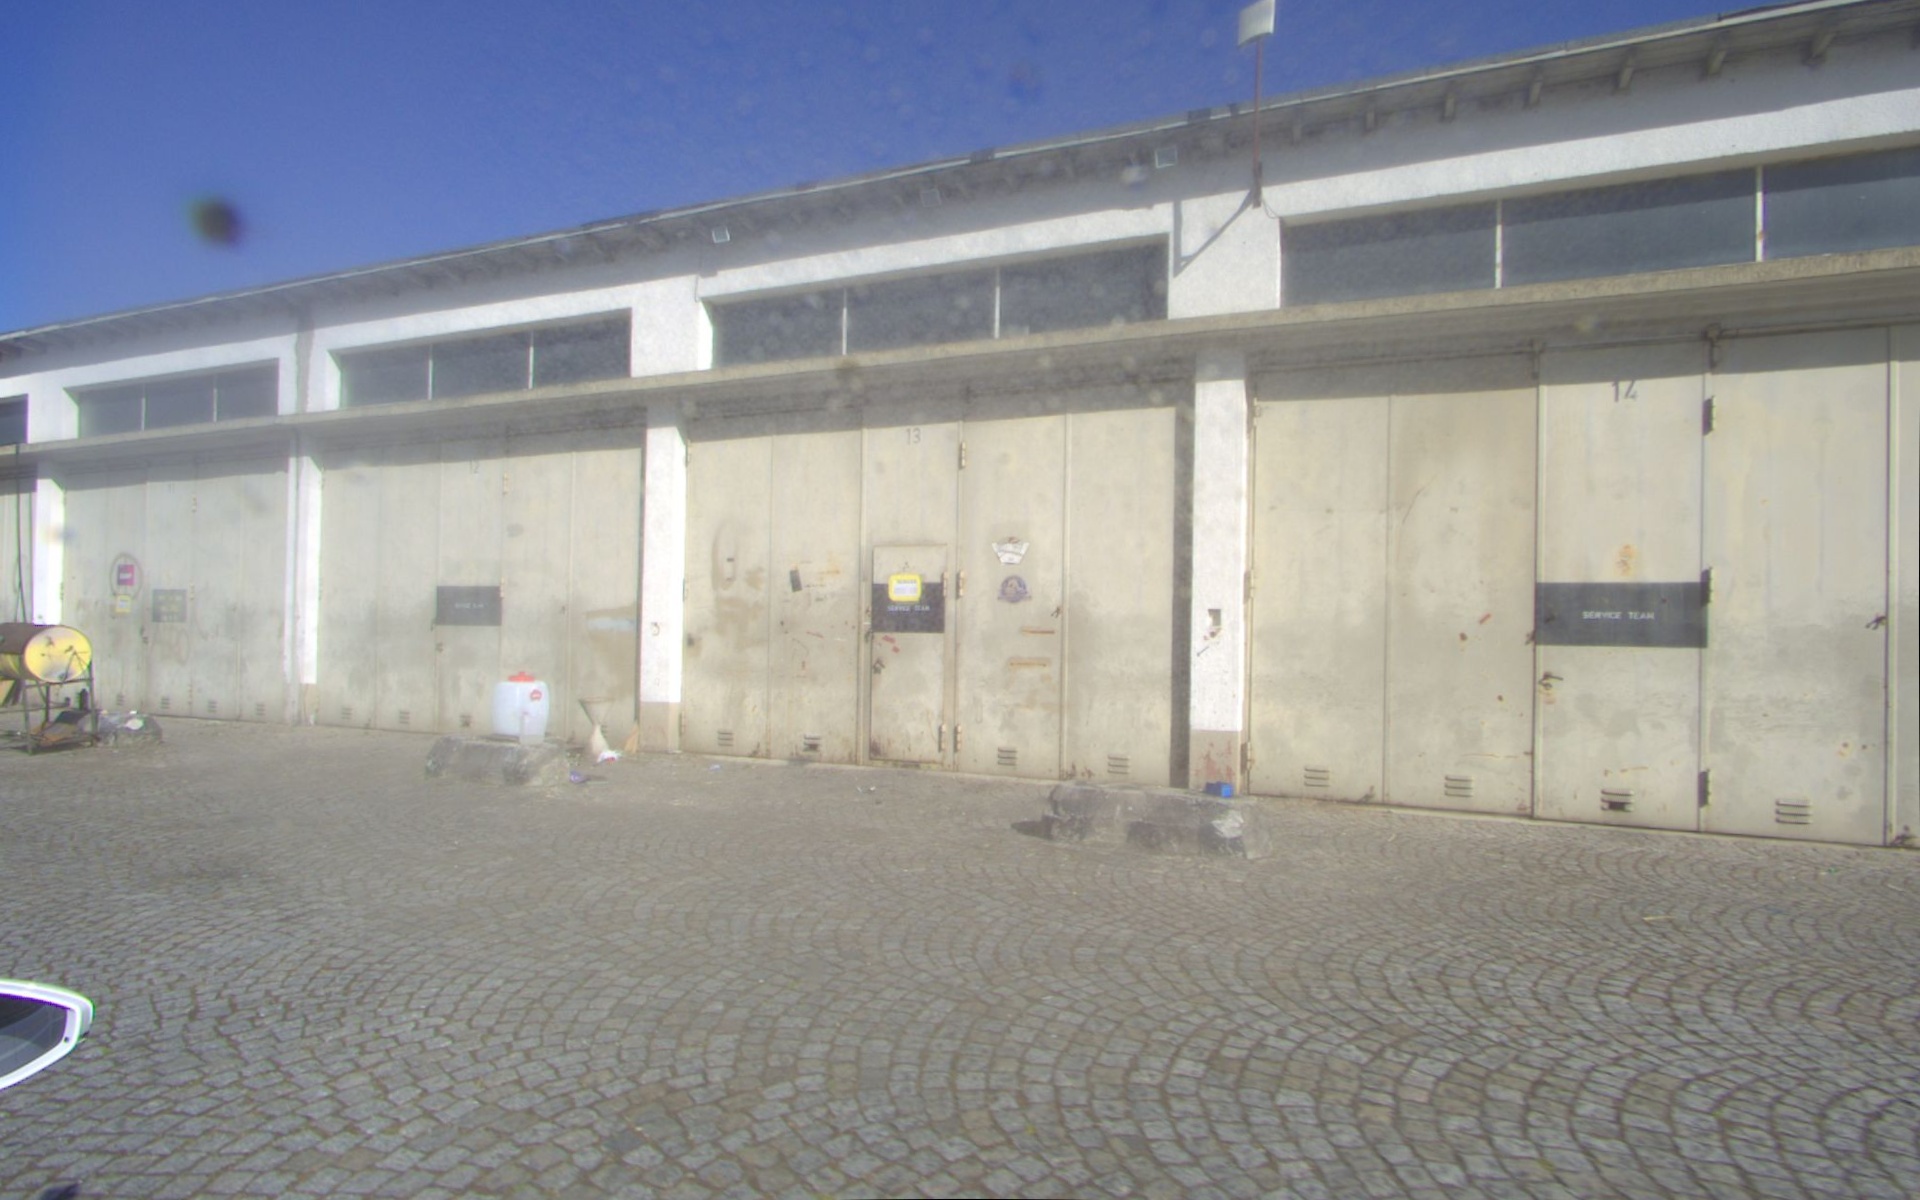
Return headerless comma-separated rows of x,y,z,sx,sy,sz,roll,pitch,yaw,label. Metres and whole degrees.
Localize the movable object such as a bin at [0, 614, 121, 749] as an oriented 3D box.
-9.835,0.831,10.657,1.257,1.348,0.825,1,-1,18,movable object such as a bin
